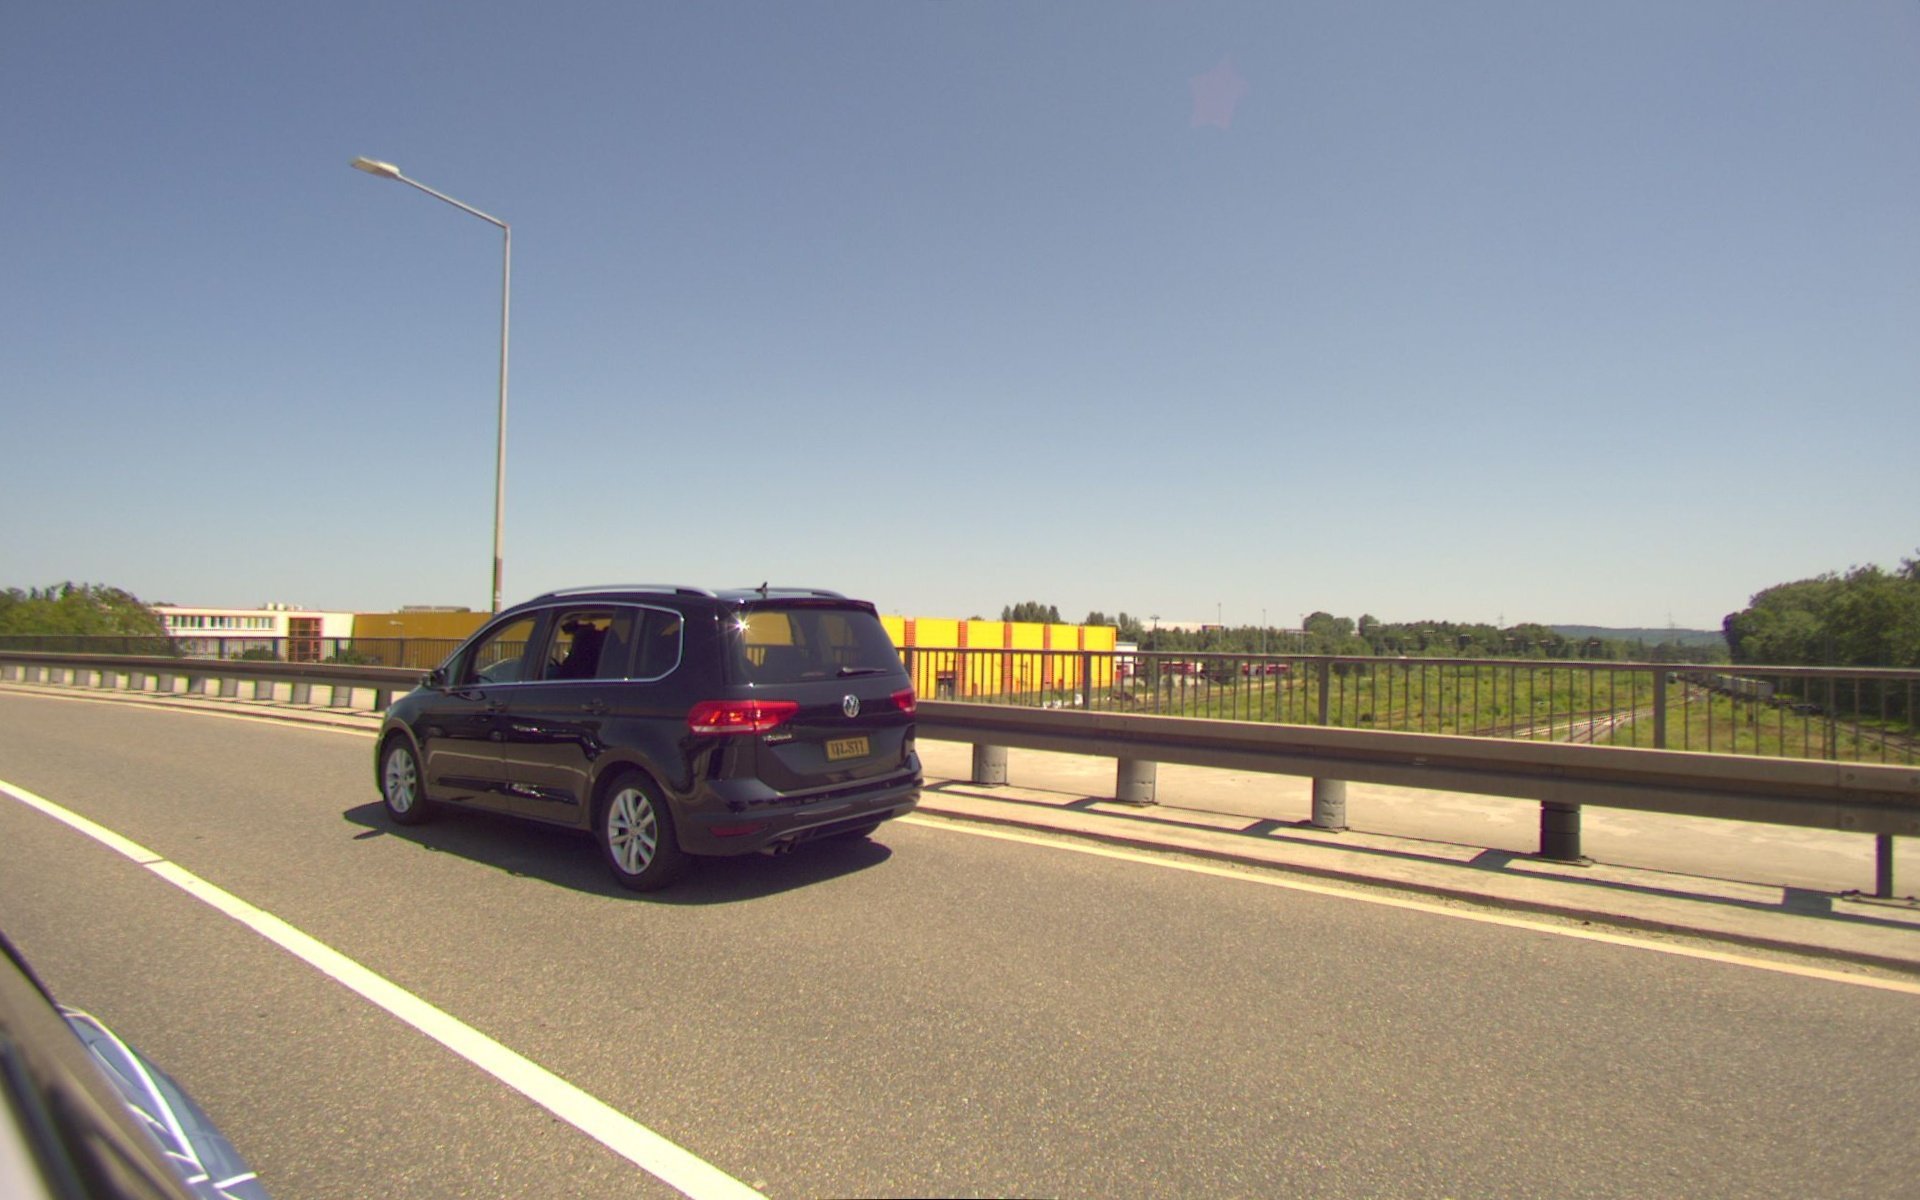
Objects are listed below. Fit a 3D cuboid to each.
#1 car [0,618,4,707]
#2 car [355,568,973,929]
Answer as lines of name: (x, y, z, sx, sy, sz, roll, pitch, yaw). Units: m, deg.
car: (-18.517, 1.072, 17.482, 4.176, 1.519, 1.763, -1, -2, 30)
car: (-2.126, 0.711, 6.622, 4.248, 1.638, 1.755, -1, -1, 38)
